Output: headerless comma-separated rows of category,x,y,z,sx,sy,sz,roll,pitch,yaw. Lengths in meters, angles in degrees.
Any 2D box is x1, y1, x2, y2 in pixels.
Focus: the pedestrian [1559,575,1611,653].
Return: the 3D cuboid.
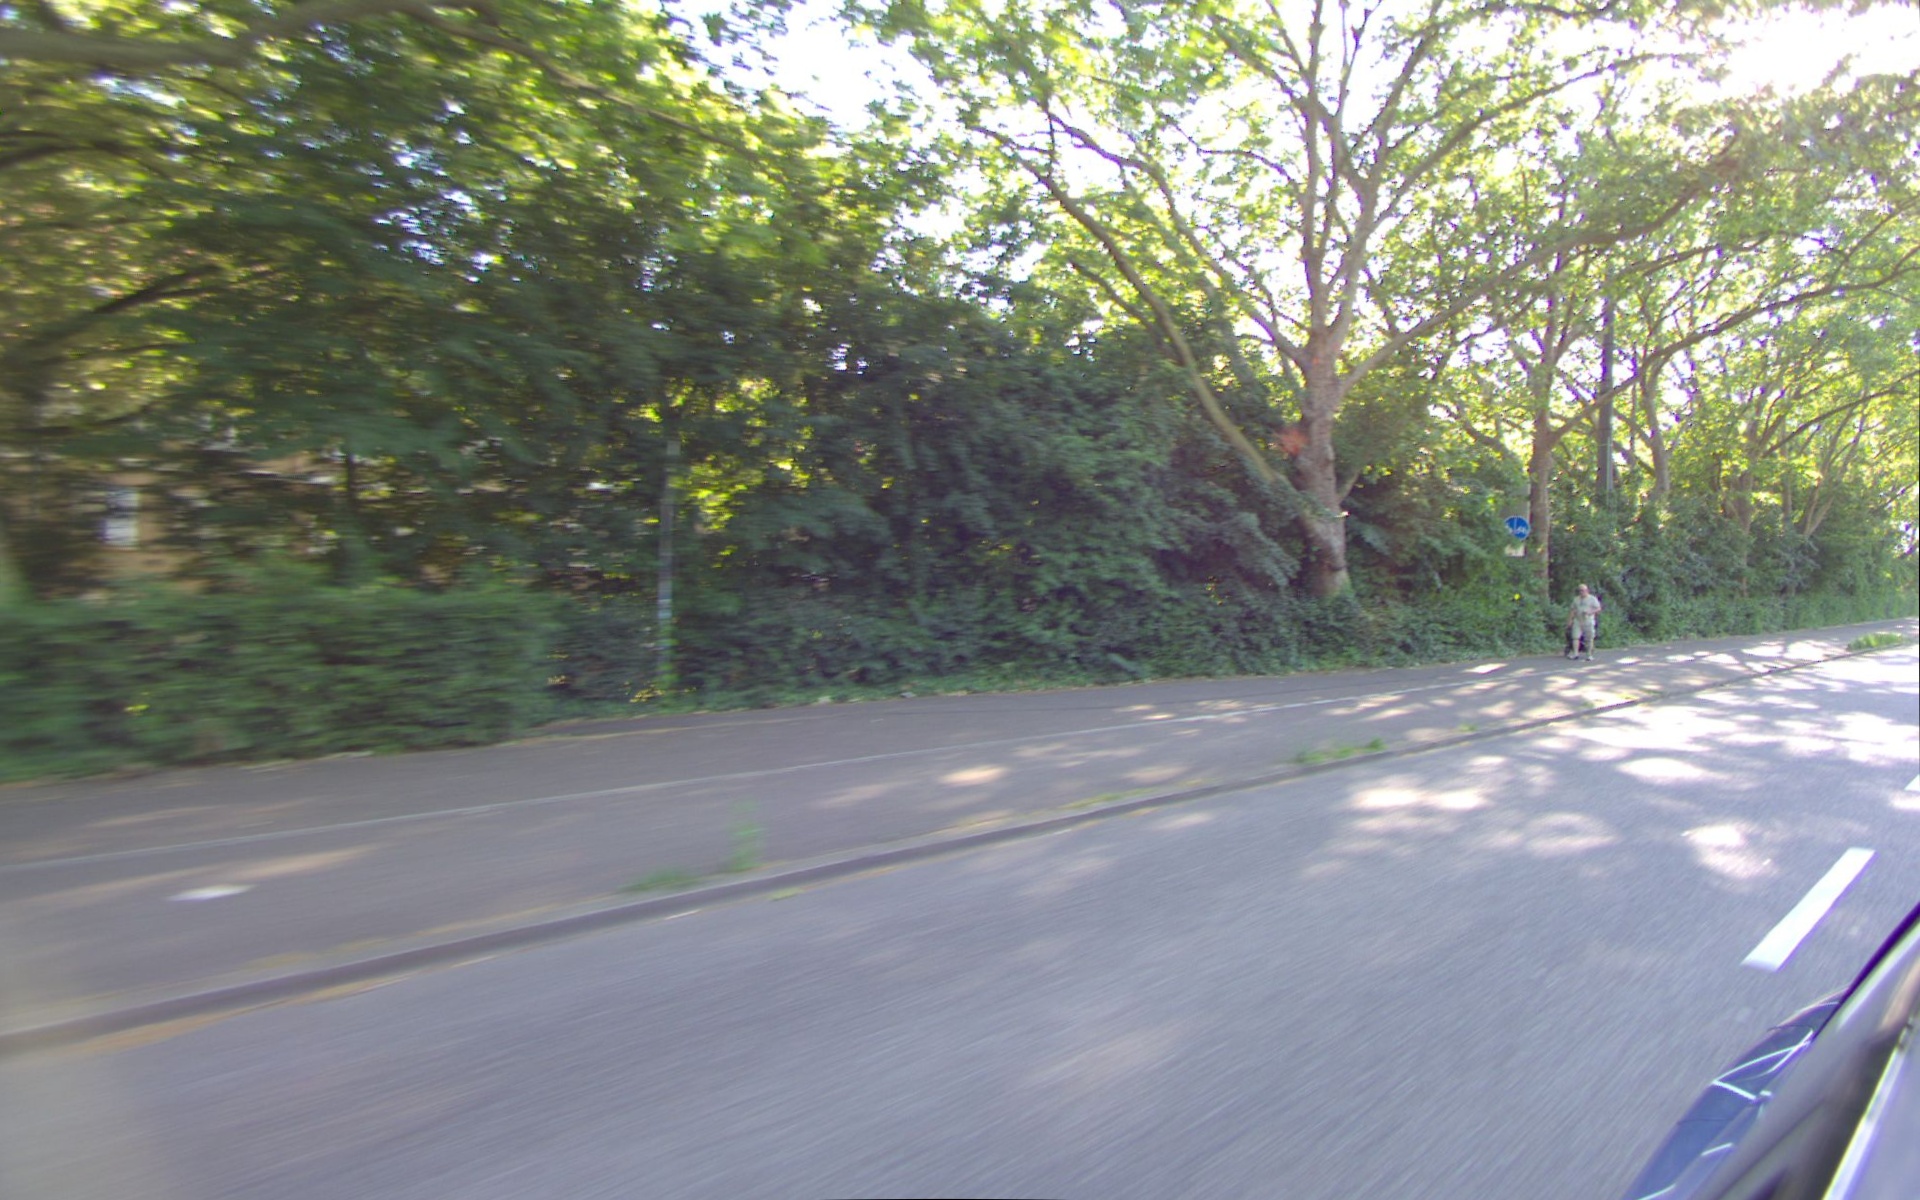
pedestrian,13.775,0.303,22.303,0.911,1.655,0.649,0,3,-41
